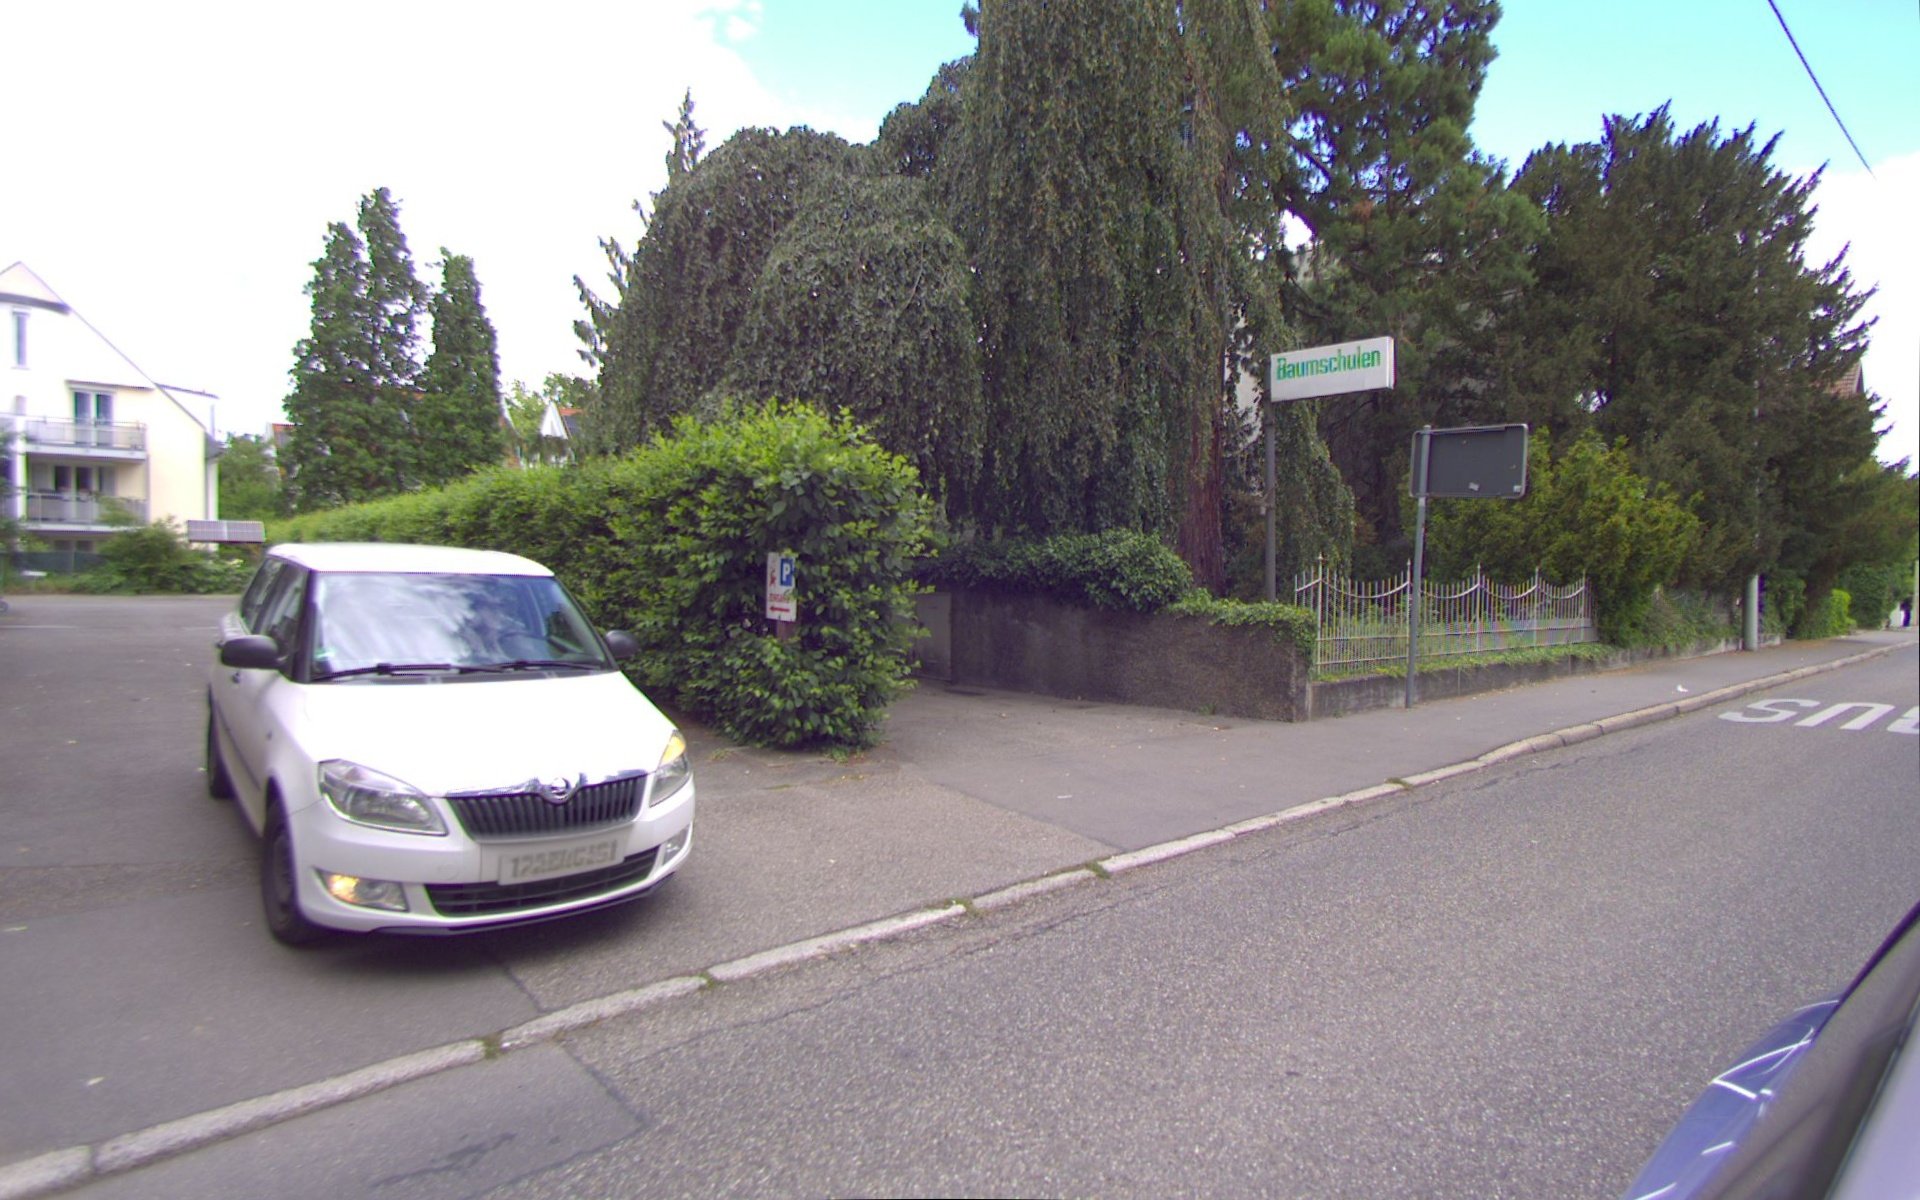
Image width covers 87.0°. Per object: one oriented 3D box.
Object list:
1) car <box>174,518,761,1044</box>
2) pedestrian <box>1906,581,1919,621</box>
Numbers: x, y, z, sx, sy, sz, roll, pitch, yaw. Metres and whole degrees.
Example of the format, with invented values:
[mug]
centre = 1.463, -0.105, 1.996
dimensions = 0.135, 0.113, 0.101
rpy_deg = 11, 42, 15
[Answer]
[car]
centre = -2.779, 0.434, 5.131
dimensions = 1.574, 1.487, 4.037
rpy_deg = -1, 6, -43
[pedestrian]
centre = 42.787, 0.041, 45.173
dimensions = 0.657, 1.789, 0.491
rpy_deg = 0, 0, -10
